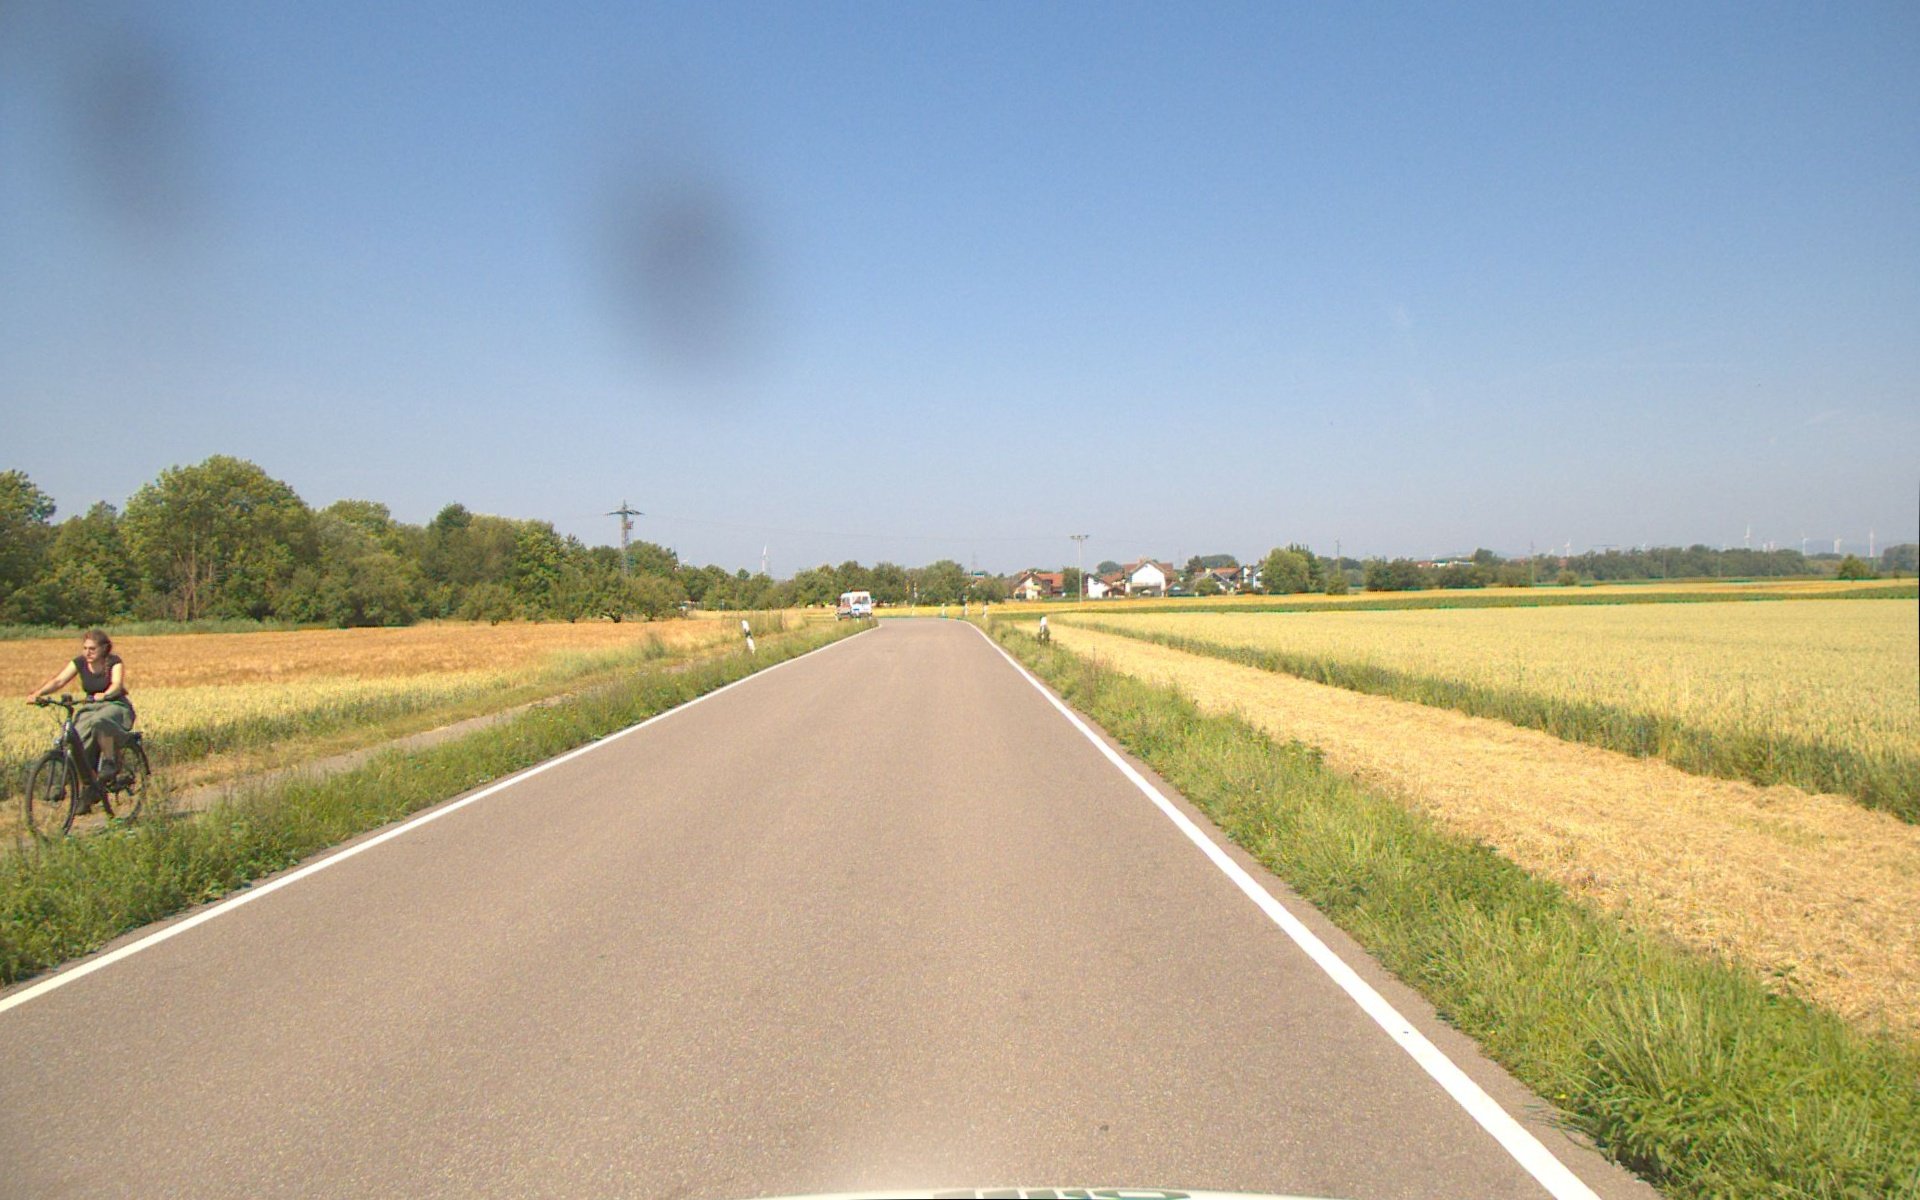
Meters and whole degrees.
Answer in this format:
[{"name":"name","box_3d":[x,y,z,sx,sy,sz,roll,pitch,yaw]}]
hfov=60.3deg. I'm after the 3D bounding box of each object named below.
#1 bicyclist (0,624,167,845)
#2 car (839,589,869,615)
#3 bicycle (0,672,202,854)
[{"name":"bicyclist","box_3d":[-7.251,1.080,13.729,0.744,1.702,1.088,-3,0,-1]},{"name":"car","box_3d":[-9.560,0.171,148.888,2.069,2.344,5.481,0,0,-11]},{"name":"bicycle","box_3d":[-7.261,1.301,13.798,0.744,1.257,2.393,-3,0,-1]}]
